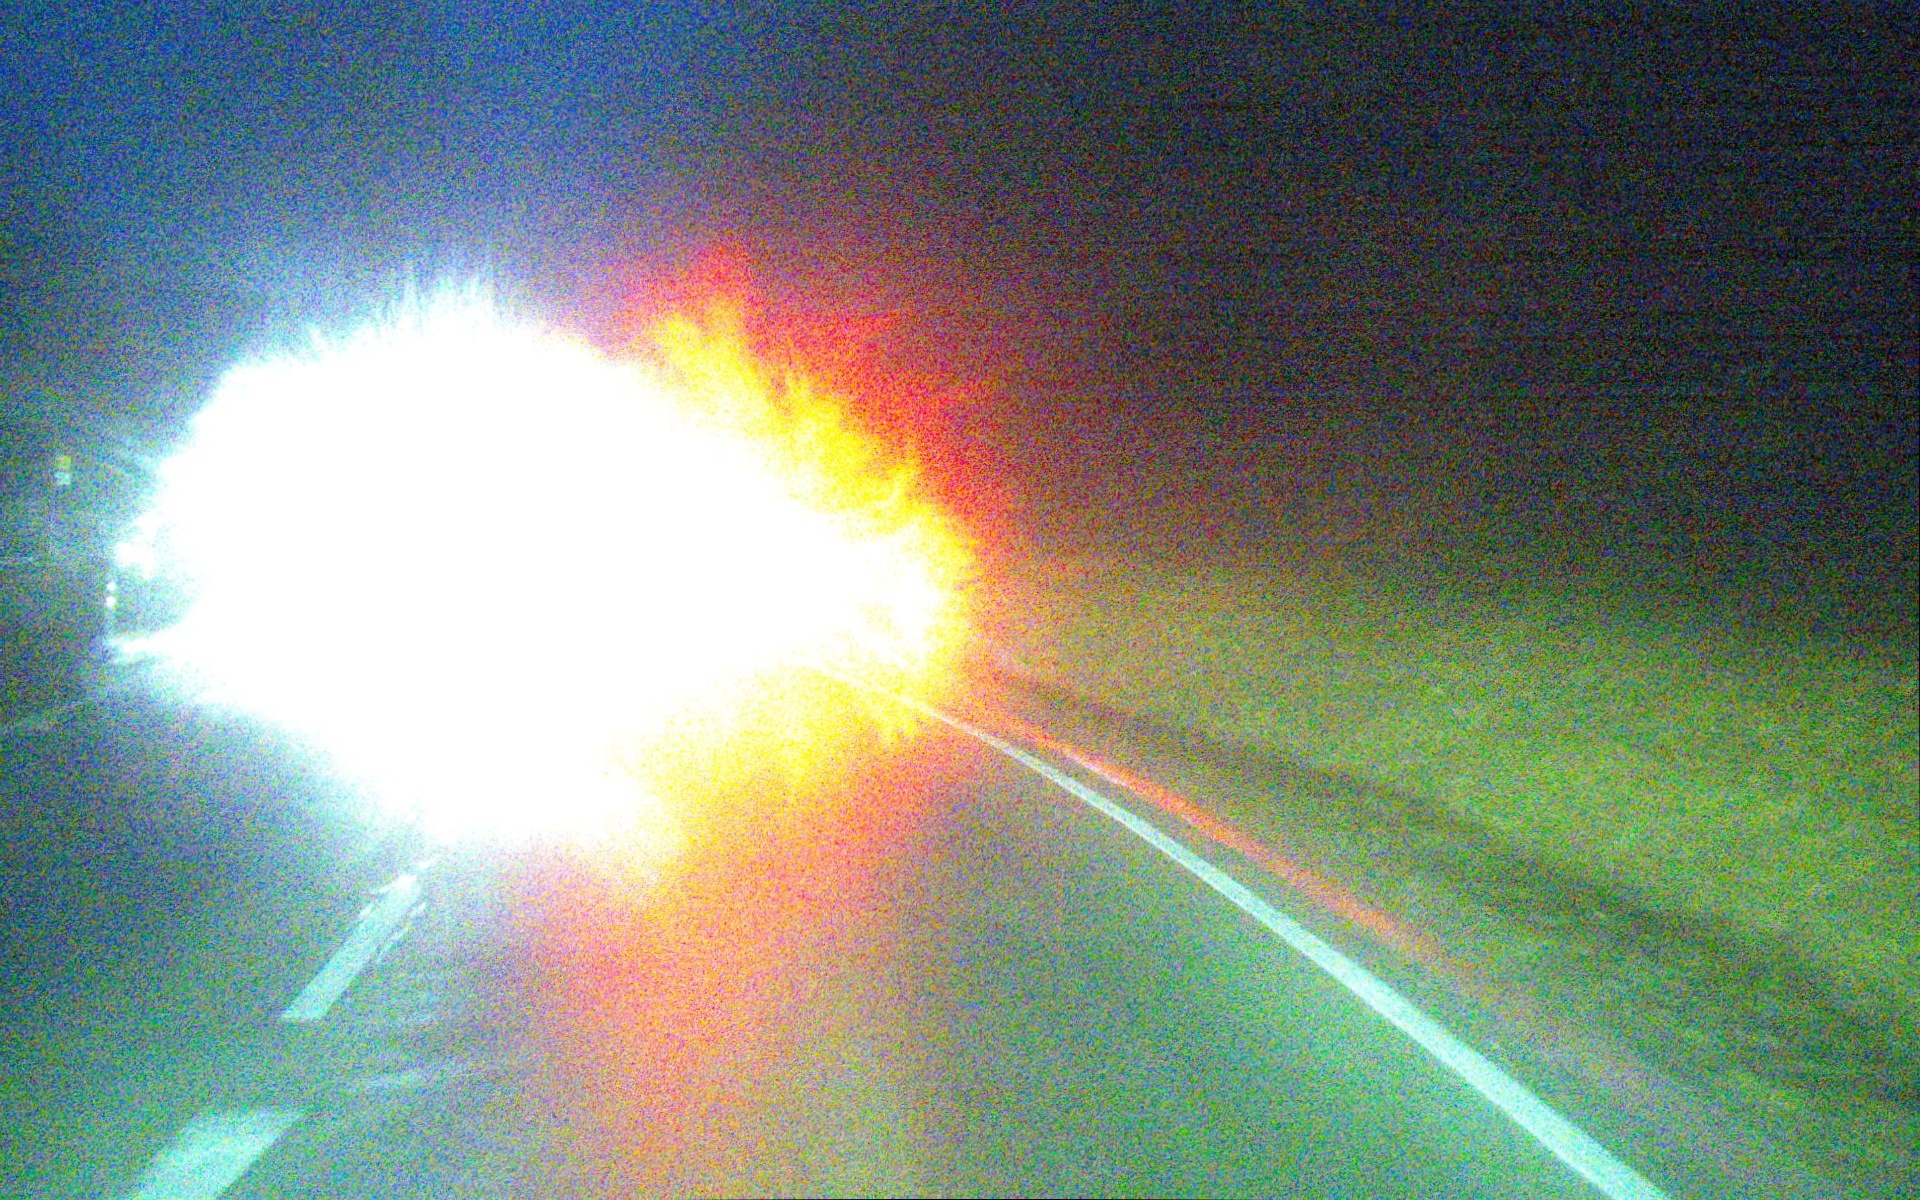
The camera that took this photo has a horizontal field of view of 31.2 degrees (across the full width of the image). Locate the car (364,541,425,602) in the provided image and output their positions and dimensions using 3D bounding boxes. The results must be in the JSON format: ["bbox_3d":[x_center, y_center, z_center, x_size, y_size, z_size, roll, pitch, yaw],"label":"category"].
[{"bbox_3d":[-17.681,-0.907,107.385,1.753,1.728,4.001,3,1,-10],"label":"car"}]

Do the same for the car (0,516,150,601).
[{"bbox_3d":[-19.240,-0.861,70.815,4.910,1.729,2.001,0,1,-11],"label":"car"}]

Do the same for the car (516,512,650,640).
[{"bbox_3d":[-6.636,-0.378,60.188,1.993,2.007,4.001,3,-2,-10],"label":"car"}]

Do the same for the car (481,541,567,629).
[{"bbox_3d":[-9.515,-0.308,74.944,1.740,1.708,3.700,3,-2,-8],"label":"car"}]

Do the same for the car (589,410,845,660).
[{"bbox_3d":[-2.694,-0.701,37.151,2.538,2.489,5.715,0,1,-5],"label":"car"}]
